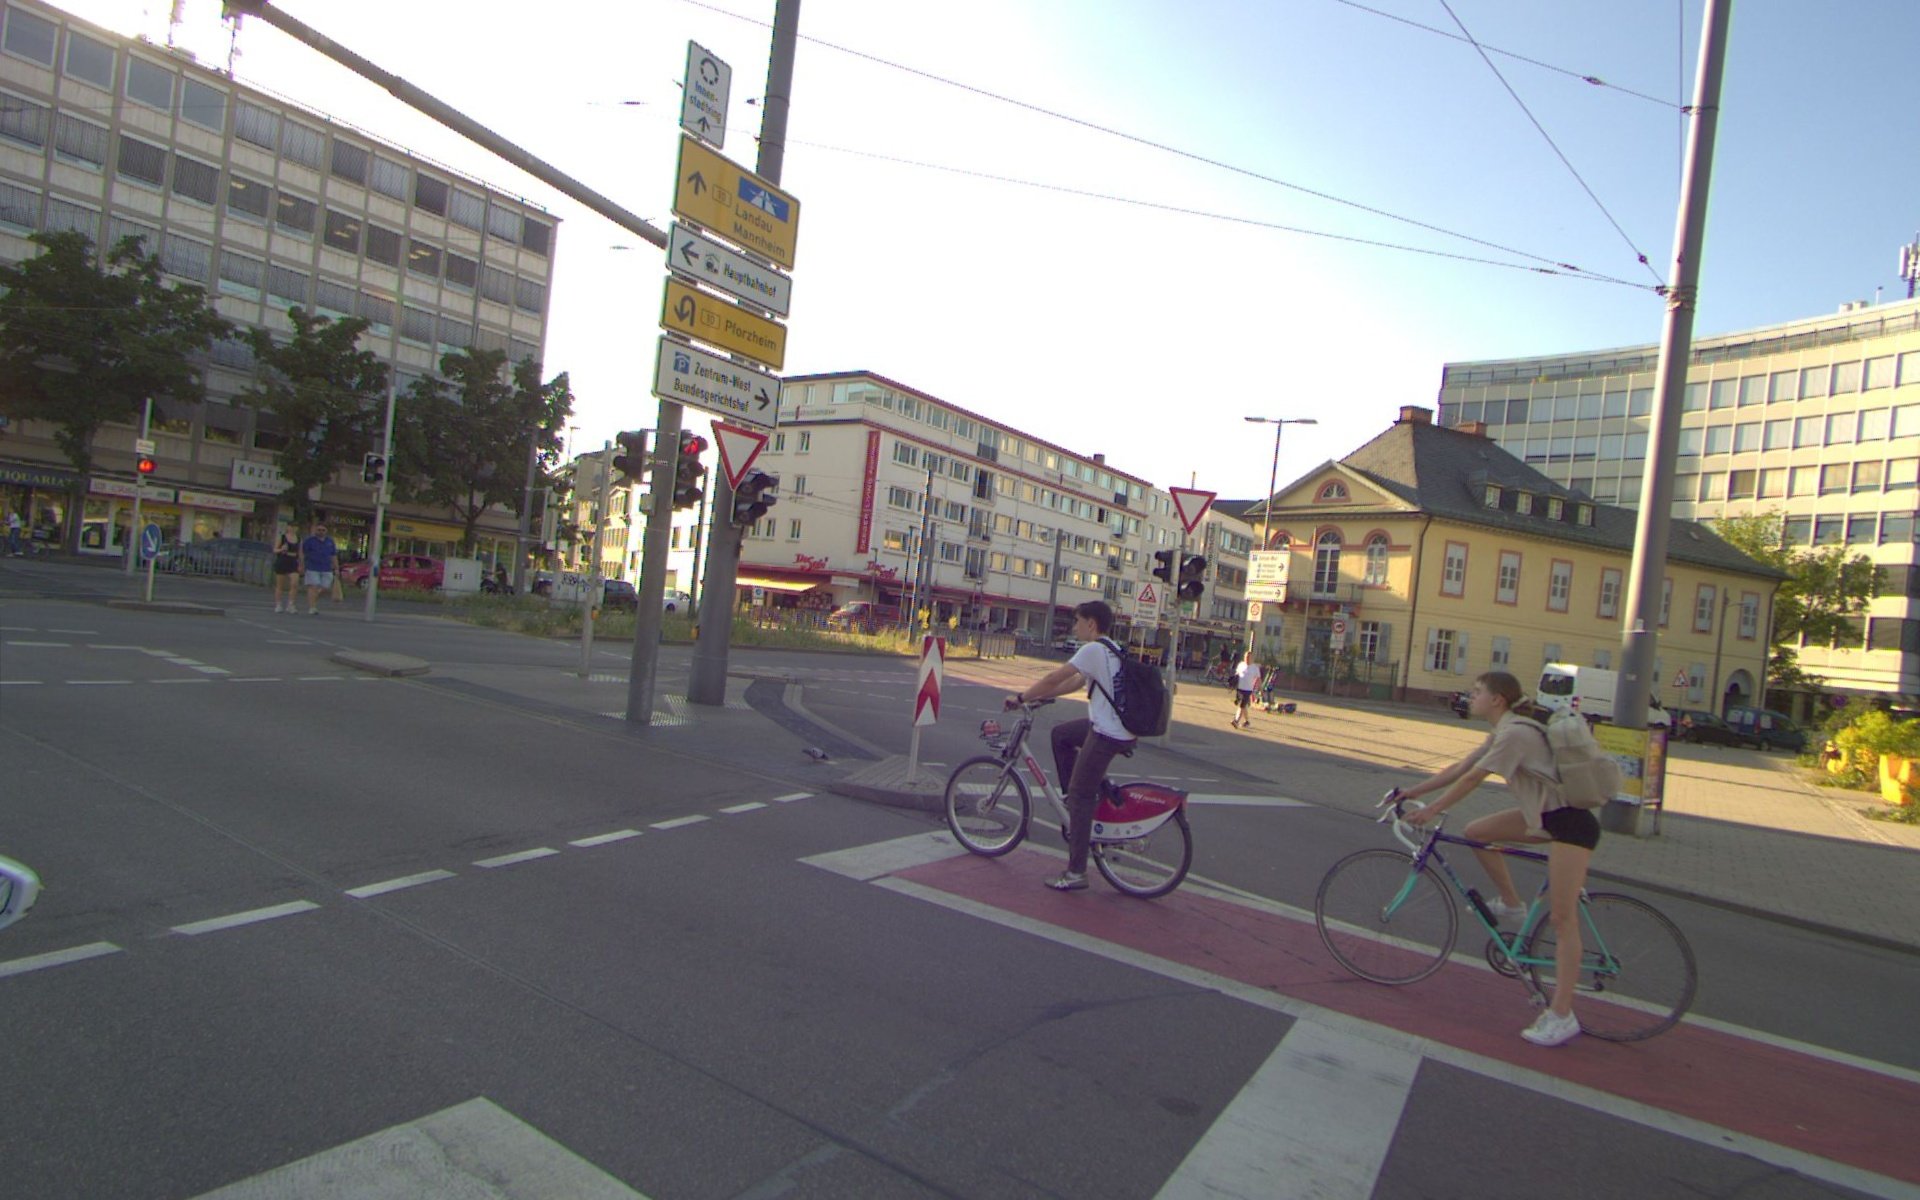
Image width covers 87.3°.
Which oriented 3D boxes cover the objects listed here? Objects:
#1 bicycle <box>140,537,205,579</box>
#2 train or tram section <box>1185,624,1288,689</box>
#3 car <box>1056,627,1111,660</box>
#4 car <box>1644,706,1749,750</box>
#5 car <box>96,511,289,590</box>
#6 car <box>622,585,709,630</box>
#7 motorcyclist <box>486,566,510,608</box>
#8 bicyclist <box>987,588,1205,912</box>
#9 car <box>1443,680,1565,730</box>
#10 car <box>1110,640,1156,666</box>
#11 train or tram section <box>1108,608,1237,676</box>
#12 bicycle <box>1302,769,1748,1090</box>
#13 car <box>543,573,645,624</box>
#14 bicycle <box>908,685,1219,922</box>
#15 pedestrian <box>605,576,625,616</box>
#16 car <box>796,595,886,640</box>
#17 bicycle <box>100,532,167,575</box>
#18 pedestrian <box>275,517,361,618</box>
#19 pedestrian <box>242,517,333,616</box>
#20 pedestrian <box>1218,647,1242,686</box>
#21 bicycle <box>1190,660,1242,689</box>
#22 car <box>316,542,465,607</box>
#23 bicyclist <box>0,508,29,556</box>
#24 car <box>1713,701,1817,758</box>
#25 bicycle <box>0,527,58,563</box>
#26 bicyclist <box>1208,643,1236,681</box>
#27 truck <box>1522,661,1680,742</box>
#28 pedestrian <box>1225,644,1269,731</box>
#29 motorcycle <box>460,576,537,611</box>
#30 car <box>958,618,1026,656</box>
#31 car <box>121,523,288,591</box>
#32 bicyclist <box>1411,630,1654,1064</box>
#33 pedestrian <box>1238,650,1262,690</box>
[{"bbox_3d":[-29.173,-1.544,37.260,2.594,1.157,0.751,9,0,26],"label":"bicycle"},{"bbox_3d":[22.966,4.766,82.787,3.658,3.874,12.958,6,-4,35],"label":"train or tram section"},{"bbox_3d":[9.946,3.483,80.469,1.971,2.036,4.858,6,-3,38],"label":"car"},{"bbox_3d":[31.901,5.534,43.575,3.705,1.380,1.709,8,-2,-17],"label":"car"},{"bbox_3d":[-22.202,-1.397,29.234,1.816,1.636,3.990,6,-3,37],"label":"car"},{"bbox_3d":[-13.766,0.374,47.256,1.810,1.636,4.004,6,-2,20],"label":"car"},{"bbox_3d":[-17.567,-0.502,38.224,0.527,1.526,0.460,6,-1,37],"label":"motorcyclist"},{"bbox_3d":[0.852,0.888,6.286,1.042,1.788,0.543,6,-1,27],"label":"bicyclist"},{"bbox_3d":[21.408,4.134,39.621,4.132,1.380,1.709,8,-2,-17],"label":"car"},{"bbox_3d":[14.997,4.565,86.989,1.971,1.738,4.382,5,-3,38],"label":"car"},{"bbox_3d":[15.521,3.176,72.228,3.659,3.879,13.319,6,-1,36],"label":"train or tram section"},{"bbox_3d":[2.579,1.460,4.770,1.664,1.012,0.543,6,-2,28],"label":"bicycle"},{"bbox_3d":[-15.260,-0.016,42.165,1.809,1.636,4.005,6,-2,18],"label":"car"},{"bbox_3d":[0.630,1.215,6.360,1.777,1.113,0.543,6,-2,28],"label":"bicycle"},{"bbox_3d":[-18.297,-0.200,53.294,0.621,2.037,0.709,7,-1,-33],"label":"pedestrian"},{"bbox_3d":[-6.503,0.978,55.541,4.602,1.863,1.880,9,-3,-44],"label":"car"},{"bbox_3d":[-29.755,-1.674,36.218,2.594,1.157,0.751,9,0,26],"label":"bicycle"},{"bbox_3d":[-12.549,-0.621,19.681,1.024,1.814,0.697,7,-1,-6],"label":"pedestrian"},{"bbox_3d":[-12.604,-0.611,18.879,1.024,1.702,0.697,7,-1,-6],"label":"pedestrian"},{"bbox_3d":[12.105,2.986,45.127,0.802,1.661,0.687,7,-1,10],"label":"pedestrian"},{"bbox_3d":[10.780,3.124,42.435,1.953,0.959,0.725,7,-2,4],"label":"bicycle"},{"bbox_3d":[-19.722,-0.863,34.956,1.816,1.636,3.990,6,-3,37],"label":"car"},{"bbox_3d":[-30.747,-2.204,32.511,0.660,1.440,0.680,6,-2,31],"label":"bicyclist"},{"bbox_3d":[35.964,5.795,44.948,3.705,2.003,1.709,8,-2,-17],"label":"car"},{"bbox_3d":[-30.721,-1.839,32.610,0.660,0.951,2.029,6,-3,31],"label":"bicycle"},{"bbox_3d":[11.057,2.621,42.431,0.881,1.474,0.725,7,-1,4],"label":"bicyclist"},{"bbox_3d":[26.626,4.207,41.818,5.555,2.578,2.294,8,-2,-17],"label":"truck"},{"bbox_3d":[6.330,1.927,22.216,0.746,1.782,1.009,6,-1,16],"label":"pedestrian"},{"bbox_3d":[-17.533,-0.239,38.314,0.527,1.012,2.664,6,-3,36],"label":"motorcycle"},{"bbox_3d":[2.208,2.578,68.748,1.971,2.036,4.858,6,-3,38],"label":"car"},{"bbox_3d":[-25.572,-1.429,34.165,1.816,1.636,4.070,6,-3,36],"label":"car"},{"bbox_3d":[2.650,1.081,4.725,0.778,1.766,0.615,6,-1,27],"label":"bicyclist"},{"bbox_3d":[12.978,3.120,44.993,0.802,1.661,0.687,7,-1,10],"label":"pedestrian"}]
